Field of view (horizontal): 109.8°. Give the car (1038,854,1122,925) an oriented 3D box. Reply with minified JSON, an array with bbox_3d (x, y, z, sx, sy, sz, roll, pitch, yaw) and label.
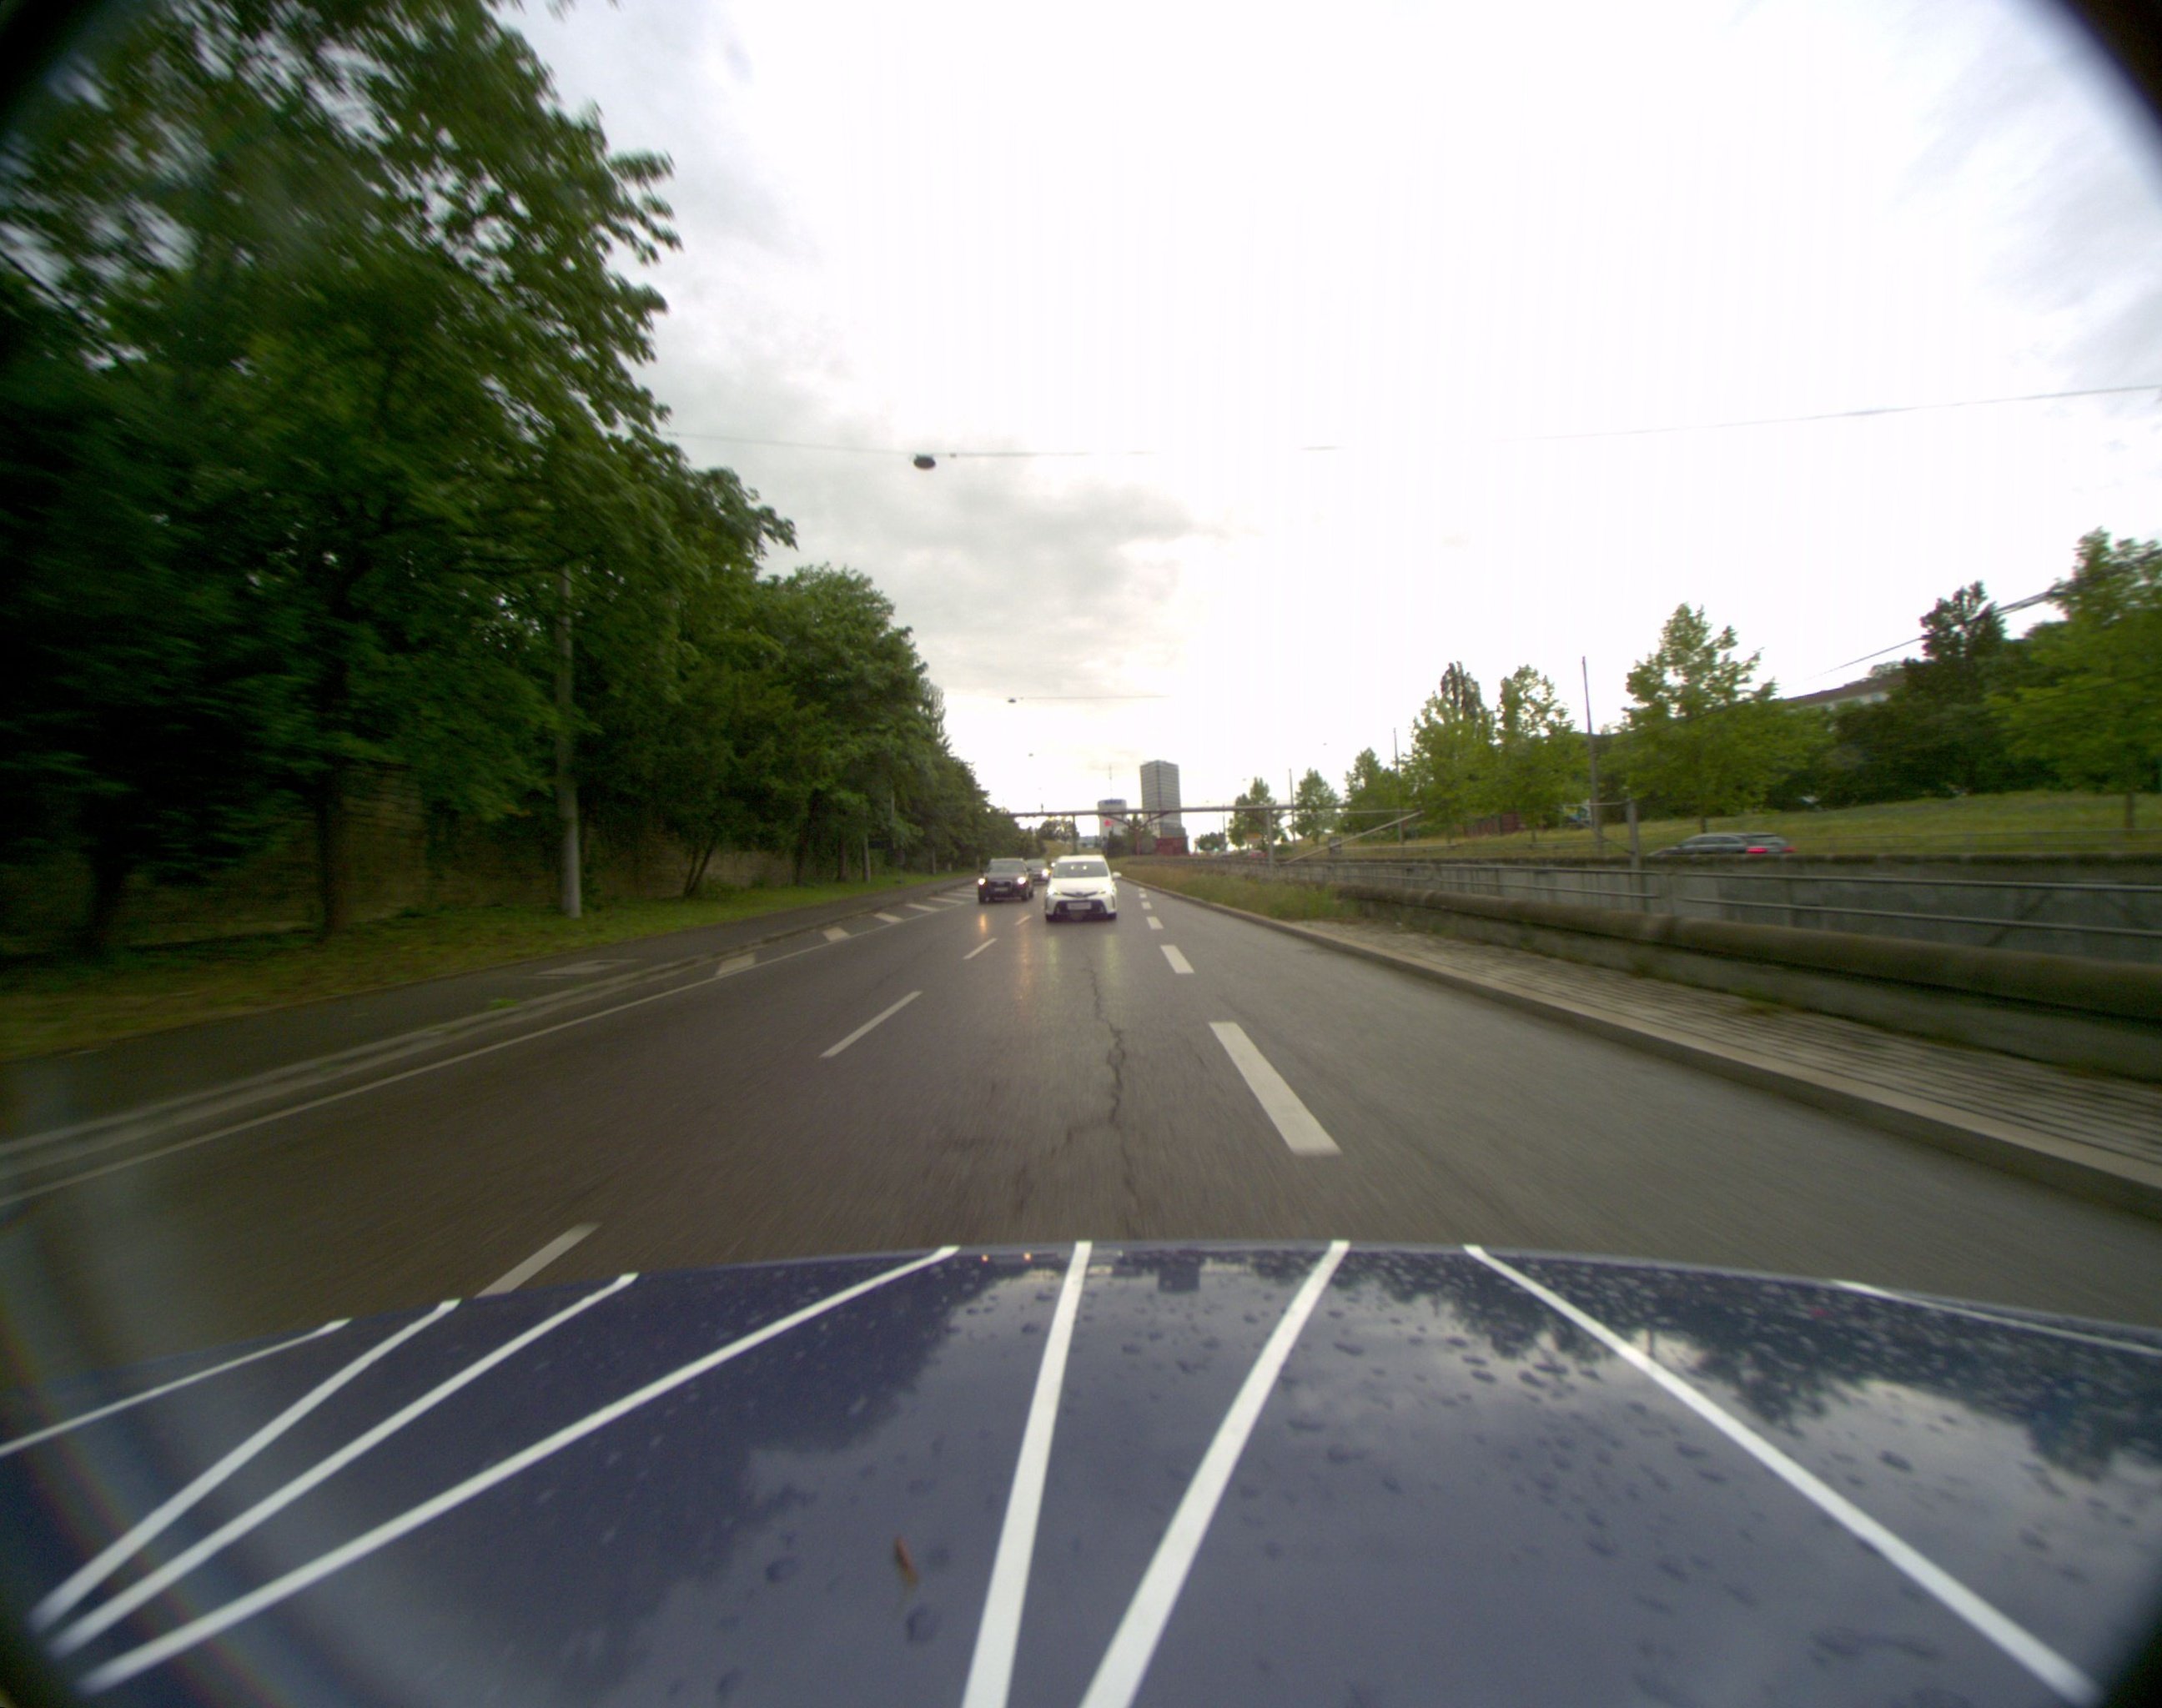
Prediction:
[{"bbox_3d":[0.048,0.840,20.019,1.924,1.604,4.376,-2,0,2],"label":"car"}]

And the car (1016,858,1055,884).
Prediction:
[{"bbox_3d":[-2.675,0.970,45.284,1.845,1.377,4.001,-3,0,3],"label":"car"}]

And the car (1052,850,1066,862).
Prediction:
[{"bbox_3d":[-3.287,0.266,113.407,1.999,1.762,3.999,1,1,-1],"label":"car"}]

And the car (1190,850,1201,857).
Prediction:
[{"bbox_3d":[24.194,-0.112,160.920,1.661,1.519,4.435,-3,0,-1],"label":"car"}]

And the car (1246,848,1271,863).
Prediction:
[{"bbox_3d":[22.389,0.165,95.865,1.896,1.634,4.357,-5,0,-1],"label":"car"}]

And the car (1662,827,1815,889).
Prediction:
[{"bbox_3d":[24.086,0.125,28.059,1.896,1.959,4.033,-5,0,-4],"label":"car"}]

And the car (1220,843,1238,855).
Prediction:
[{"bbox_3d":[22.391,-0.733,115.127,1.896,1.631,3.972,-3,0,-1],"label":"car"}]

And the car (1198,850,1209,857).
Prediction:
[{"bbox_3d":[27.728,-0.143,171.878,1.661,1.565,3.790,-5,0,-4],"label":"car"}]

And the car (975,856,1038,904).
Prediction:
[{"bbox_3d":[-2.754,0.918,29.092,1.927,1.591,4.278,-2,1,0],"label":"car"}]

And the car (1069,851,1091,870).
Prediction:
[{"bbox_3d":[-0.045,0.655,77.237,1.998,1.761,4.001,-2,0,3],"label":"car"}]
